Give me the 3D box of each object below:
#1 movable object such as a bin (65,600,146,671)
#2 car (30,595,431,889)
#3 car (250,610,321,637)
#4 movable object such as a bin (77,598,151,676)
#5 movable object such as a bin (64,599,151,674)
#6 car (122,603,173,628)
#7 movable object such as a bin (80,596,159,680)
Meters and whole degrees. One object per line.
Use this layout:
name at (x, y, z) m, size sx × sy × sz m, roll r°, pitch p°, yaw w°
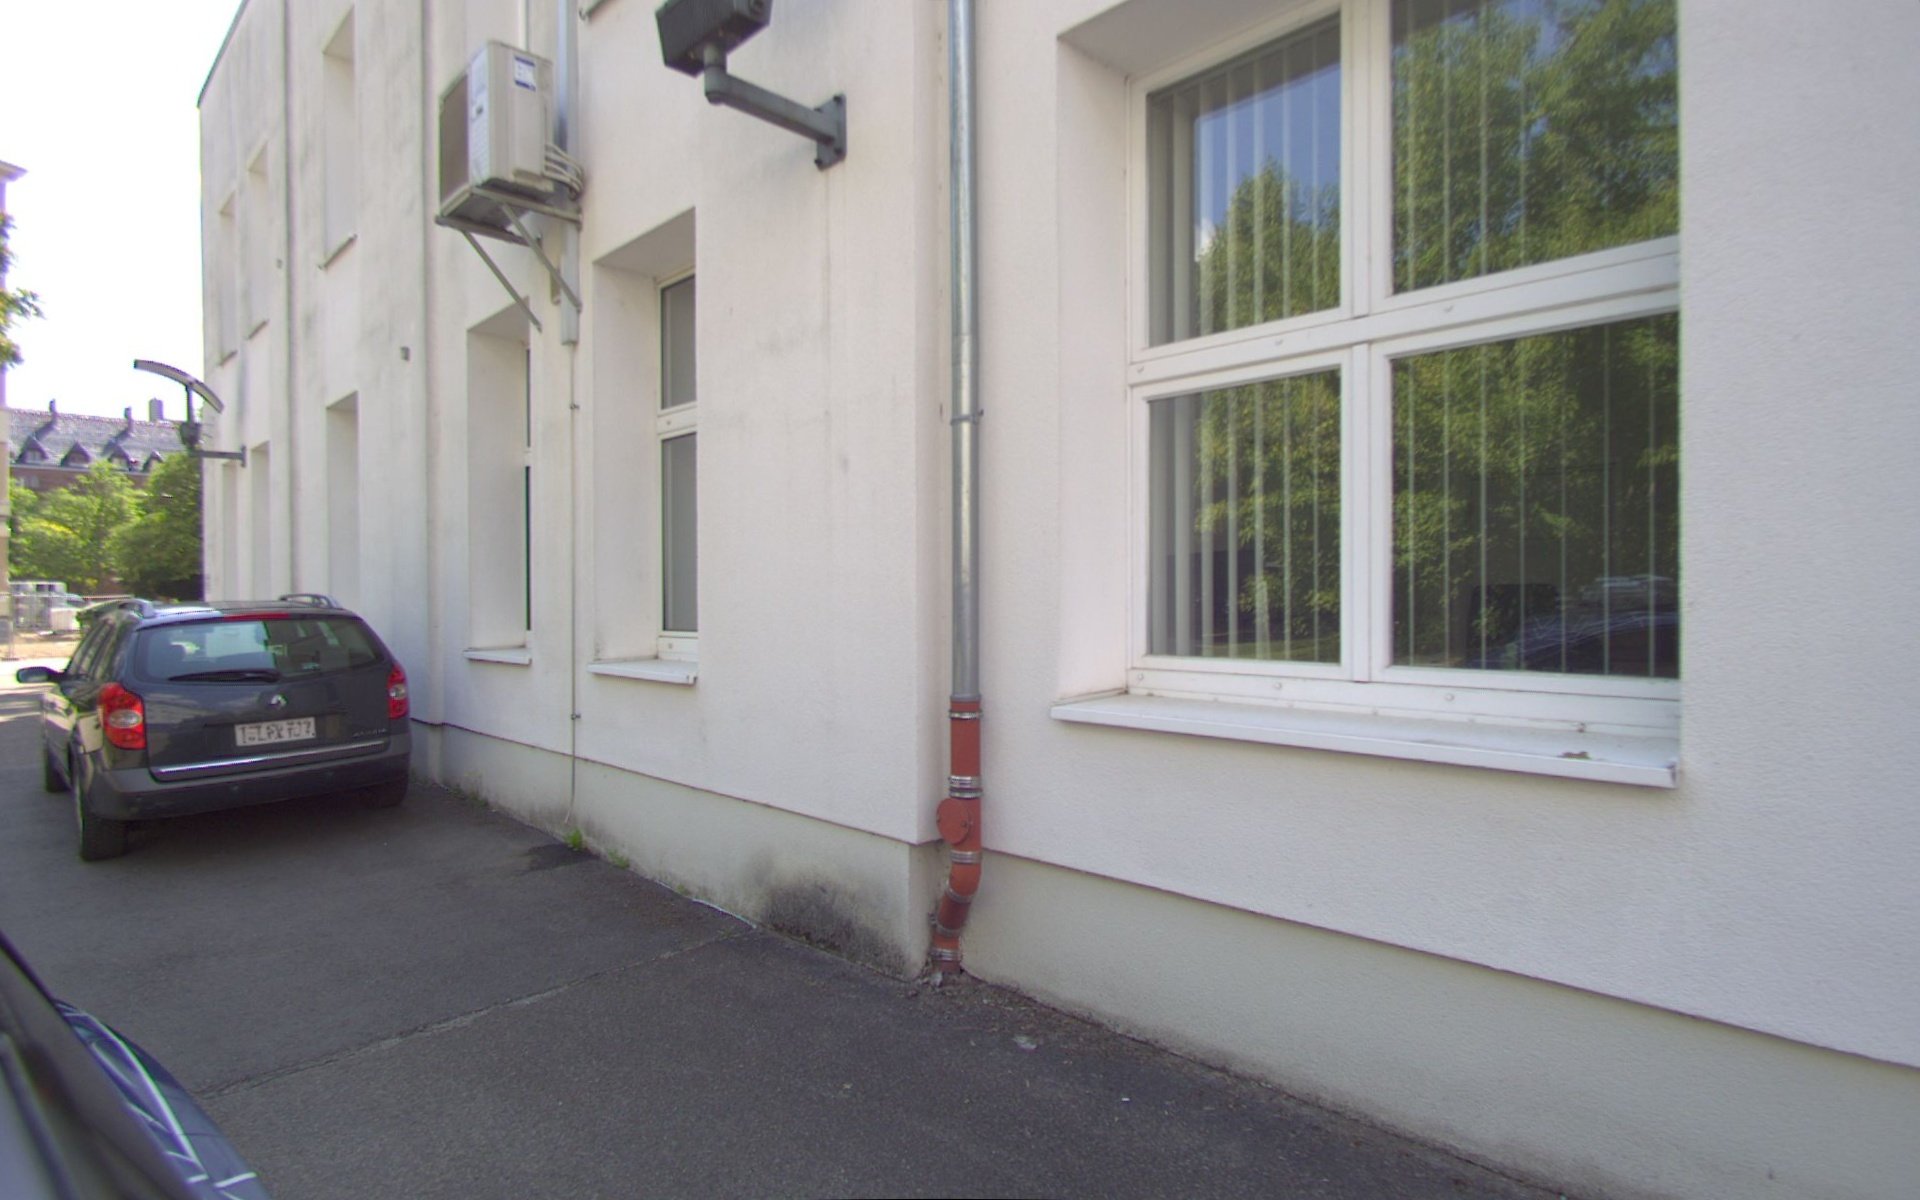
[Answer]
movable object such as a bin at (-18.599, 0.752, 22.031) m, size 1.325 × 1.490 × 1.191 m, roll -1°, pitch -1°, yaw 42°
car at (-5.372, 0.726, 7.182) m, size 1.734 × 1.440 × 4.390 m, roll 0°, pitch -1°, yaw -44°
car at (-38.288, 1.328, 57.440) m, size 3.558 × 1.451 × 1.611 m, roll 0°, pitch -1°, yaw 22°
movable object such as a bin at (-16.738, 0.711, 20.010) m, size 1.032 × 1.490 × 1.263 m, roll 0°, pitch -1°, yaw -44°
movable object such as a bin at (-17.700, 0.732, 21.013) m, size 1.357 × 1.490 × 1.083 m, roll -1°, pitch -1°, yaw 35°
car at (-67.581, 1.281, 84.212) m, size 1.966 × 2.029 × 4.012 m, roll -1°, pitch 0°, yaw -17°
movable object such as a bin at (-15.717, 0.690, 18.920) m, size 1.032 × 1.490 × 1.411 m, roll 0°, pitch -1°, yaw -44°
